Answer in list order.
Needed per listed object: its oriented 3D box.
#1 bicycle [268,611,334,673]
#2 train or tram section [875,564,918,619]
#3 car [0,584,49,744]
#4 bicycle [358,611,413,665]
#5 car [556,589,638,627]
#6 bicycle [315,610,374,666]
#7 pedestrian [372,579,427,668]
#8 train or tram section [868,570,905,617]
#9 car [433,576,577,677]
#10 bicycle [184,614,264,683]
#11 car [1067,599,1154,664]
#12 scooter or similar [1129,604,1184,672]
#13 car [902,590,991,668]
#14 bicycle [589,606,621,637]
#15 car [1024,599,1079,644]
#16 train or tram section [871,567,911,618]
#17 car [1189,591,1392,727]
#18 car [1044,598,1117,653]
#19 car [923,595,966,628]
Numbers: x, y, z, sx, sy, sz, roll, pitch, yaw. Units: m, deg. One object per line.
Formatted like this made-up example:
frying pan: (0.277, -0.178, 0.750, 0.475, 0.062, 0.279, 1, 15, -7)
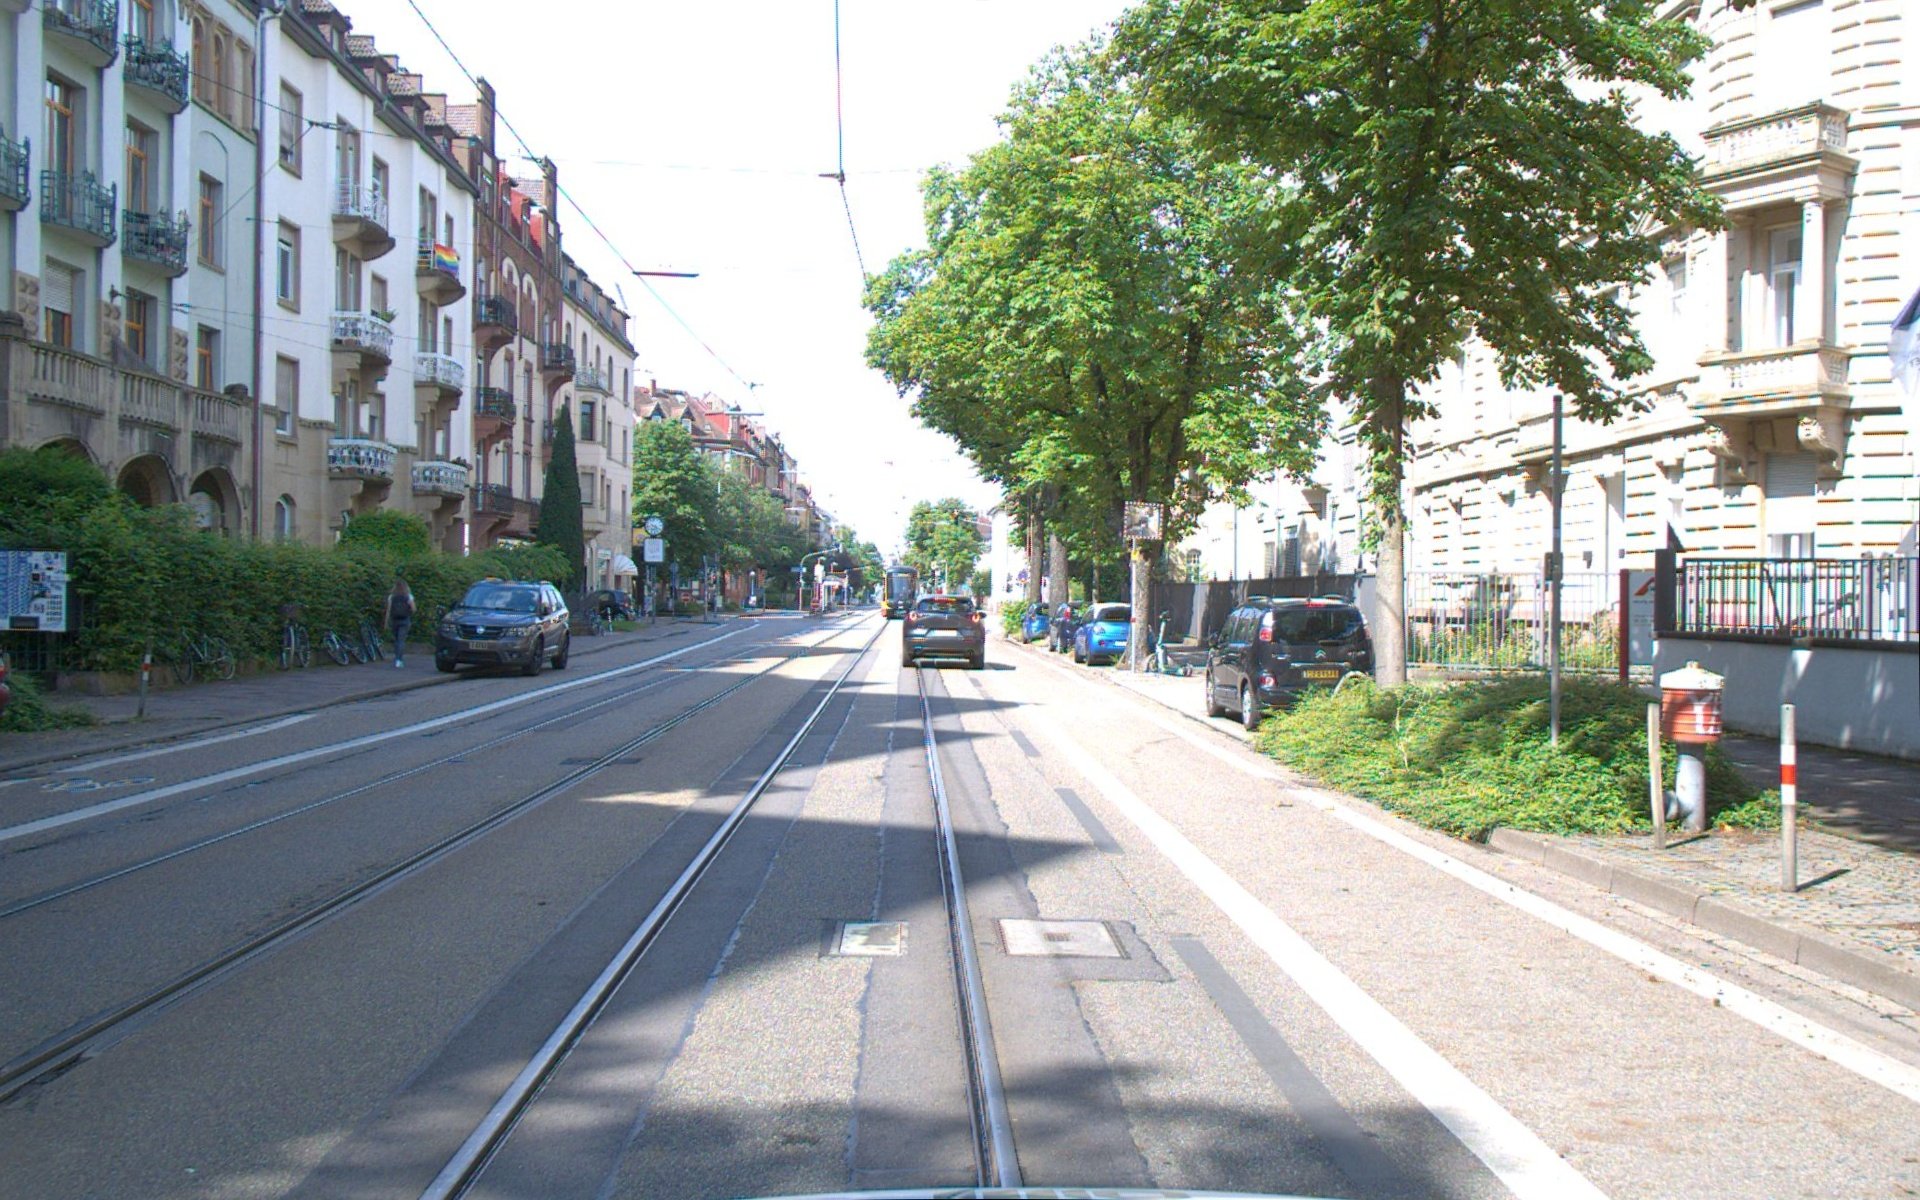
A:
bicycle: (-11.197, 0.697, 28.141, 0.375, 0.976, 1.810, 2, 0, 0)
train or tram section: (-4.401, -0.549, 113.446, 2.600, 3.589, 8.487, 0, 0, -5)
car: (-10.843, 0.666, 15.241, 1.815, 1.510, 3.943, -2, 0, 44)
bicycle: (-11.232, 0.726, 32.371, 0.375, 0.976, 1.921, 2, 0, 0)
car: (-15.956, 0.357, 72.838, 3.169, 1.539, 1.679, 2, 0, 1)
bicycle: (-11.243, 0.679, 30.232, 0.375, 0.976, 1.810, 2, 0, 0)
pedestrian: (-10.422, 0.436, 30.774, 0.666, 1.595, 0.882, 2, 0, 0)
train or tram section: (-5.836, -0.474, 130.389, 2.600, 3.589, 8.487, 0, 0, -5)
car: (-8.621, 0.457, 31.736, 1.750, 1.793, 4.879, 0, 0, -4)
bicycle: (-11.126, 0.712, 25.037, 0.375, 0.976, 1.810, 2, 0, 0)
car: (3.681, 0.739, 40.971, 1.607, 1.522, 3.624, -1, 0, -4)
scooter or similar: (4.039, 0.771, 34.050, 0.436, 1.322, 1.169, -3, 2, -32)
car: (-0.353, 0.596, 36.542, 1.754, 1.538, 4.348, 2, 1, -3)
bicycle: (-11.866, 0.716, 55.301, 0.500, 0.976, 1.816, 3, -2, 5)
car: (3.236, 0.744, 59.186, 1.591, 1.522, 3.846, -1, 0, -2)
train or tram section: (-5.126, -0.514, 121.944, 2.600, 3.589, 8.487, 0, 0, -5)
car: (4.325, 0.724, 22.259, 1.663, 1.619, 4.200, -1, 0, -3)
car: (3.522, 0.730, 48.881, 1.607, 1.522, 3.755, -1, 0, -4)
car: (-0.779, 0.523, 79.974, 1.750, 1.518, 4.879, 0, 0, -4)
